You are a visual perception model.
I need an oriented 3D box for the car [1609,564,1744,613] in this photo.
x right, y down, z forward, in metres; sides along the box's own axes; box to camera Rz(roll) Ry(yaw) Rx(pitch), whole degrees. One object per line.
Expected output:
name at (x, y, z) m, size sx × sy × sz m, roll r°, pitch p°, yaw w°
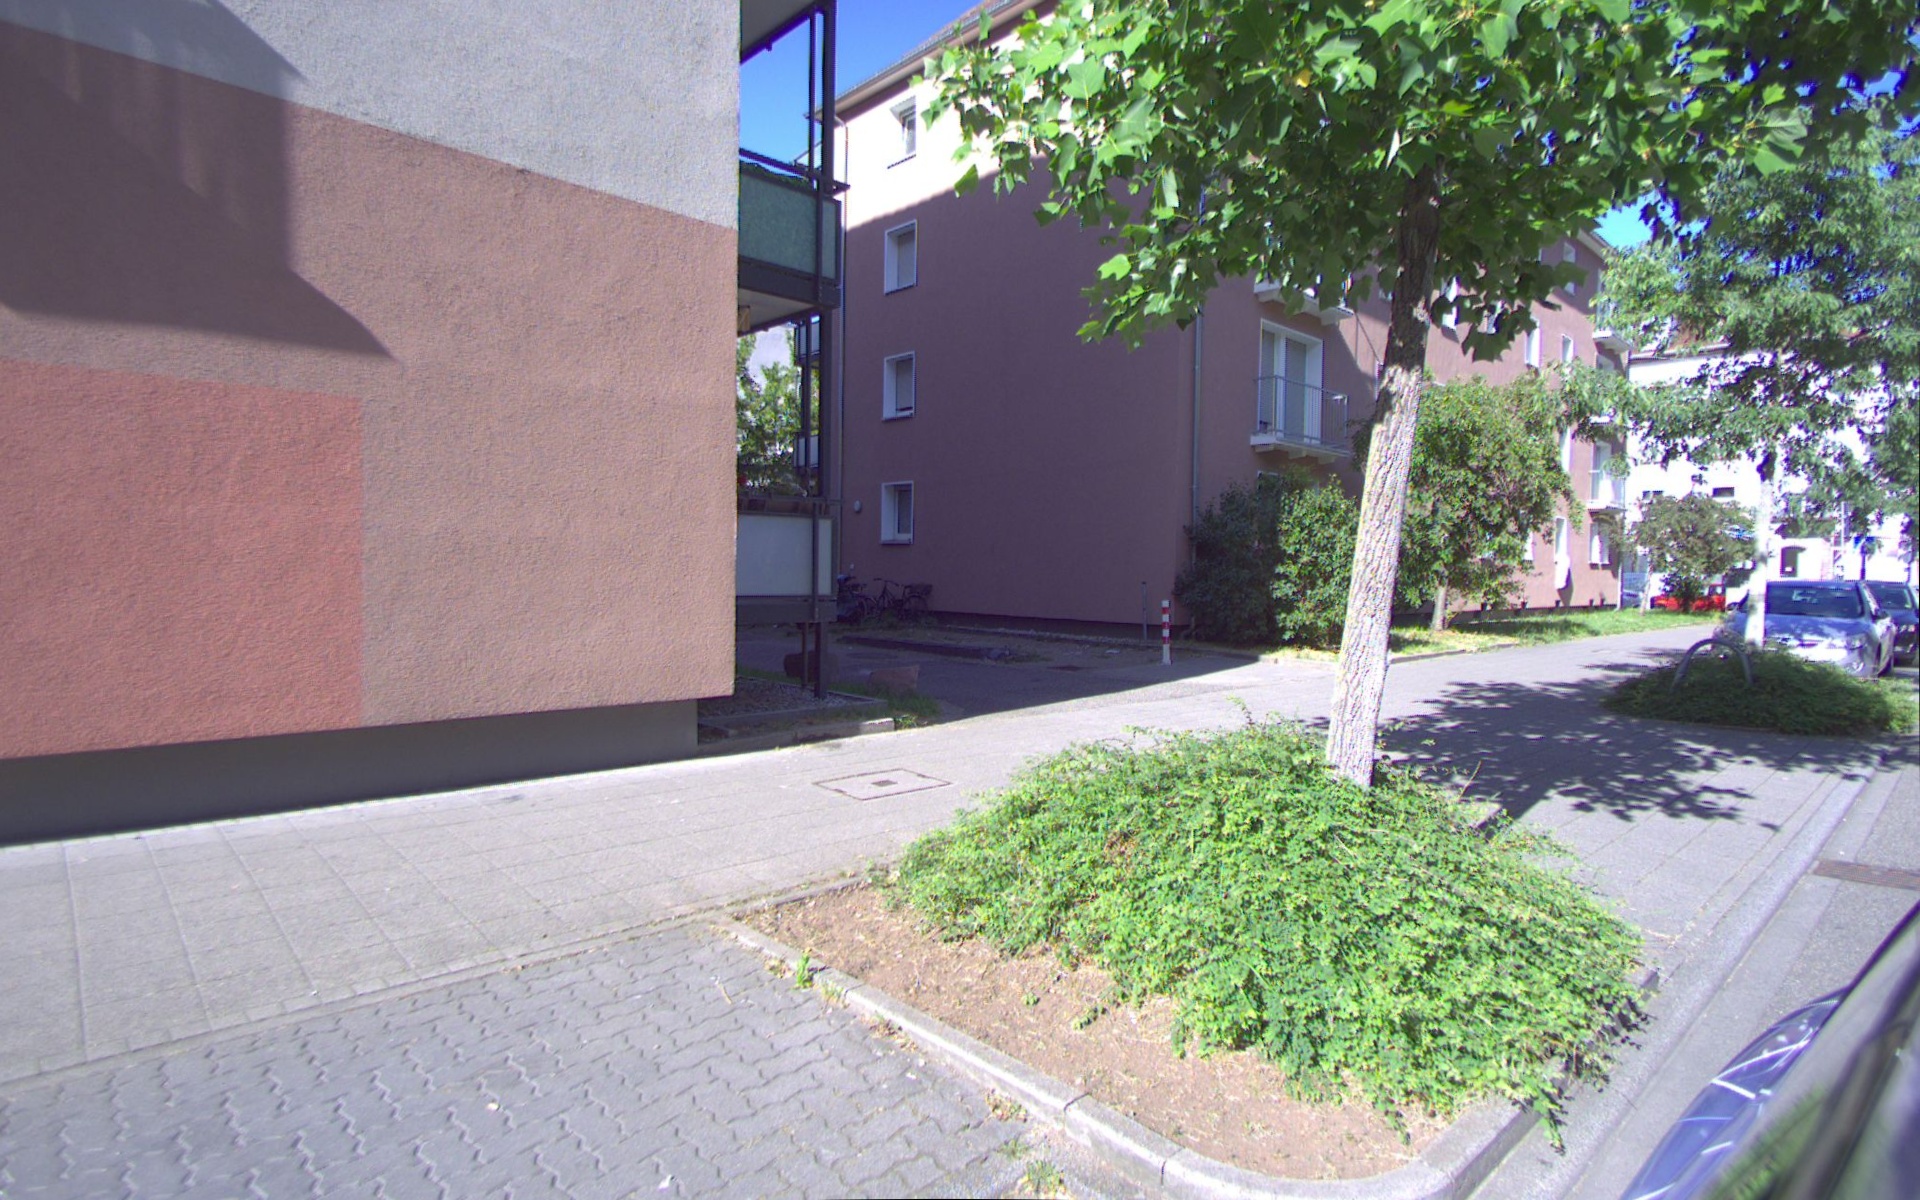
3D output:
car at (32.087, -0.557, 45.409) m, size 4.742 × 2.038 × 1.969 m, roll 2°, pitch 2°, yaw 43°

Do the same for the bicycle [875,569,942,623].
bicycle at (-1.113, -0.101, 21.755) m, size 0.584 × 1.112 × 1.537 m, roll -1°, pitch 2°, yaw -44°

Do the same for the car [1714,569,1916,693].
car at (12.304, 0.326, 14.479) m, size 3.933 × 1.471 × 1.718 m, roll -2°, pitch 4°, yaw -43°

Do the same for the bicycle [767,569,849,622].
bicycle at (-3.302, -0.113, 22.071) m, size 1.742 × 1.120 × 0.567 m, roll -1°, pitch 2°, yaw -42°

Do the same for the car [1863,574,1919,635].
car at (24.419, 0.081, 25.752) m, size 3.932 × 1.446 × 1.734 m, roll -1°, pitch 2°, yaw -43°

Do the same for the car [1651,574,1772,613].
car at (29.803, -0.284, 40.199) m, size 1.542 × 1.419 × 3.644 m, roll -1°, pitch 2°, yaw -42°

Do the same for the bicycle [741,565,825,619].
bicycle at (-3.954, -0.187, 22.706) m, size 1.848 × 1.166 × 0.577 m, roll -1°, pitch 2°, yaw -42°

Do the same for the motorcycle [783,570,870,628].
motorcycle at (-2.664, -0.038, 20.348) m, size 1.742 × 1.120 × 0.525 m, roll -1°, pitch 2°, yaw -42°

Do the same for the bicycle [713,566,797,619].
bicycle at (-4.665, -0.197, 23.149) m, size 1.848 × 1.166 × 0.577 m, roll -1°, pitch 2°, yaw -42°

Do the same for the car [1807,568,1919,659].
car at (16.989, 0.182, 18.600) m, size 4.239 × 1.500 × 1.660 m, roll -1°, pitch 2°, yaw -43°

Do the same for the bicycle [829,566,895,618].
bicycle at (-2.248, -0.196, 22.962) m, size 0.548 × 1.112 × 1.716 m, roll -1°, pitch 2°, yaw -43°
